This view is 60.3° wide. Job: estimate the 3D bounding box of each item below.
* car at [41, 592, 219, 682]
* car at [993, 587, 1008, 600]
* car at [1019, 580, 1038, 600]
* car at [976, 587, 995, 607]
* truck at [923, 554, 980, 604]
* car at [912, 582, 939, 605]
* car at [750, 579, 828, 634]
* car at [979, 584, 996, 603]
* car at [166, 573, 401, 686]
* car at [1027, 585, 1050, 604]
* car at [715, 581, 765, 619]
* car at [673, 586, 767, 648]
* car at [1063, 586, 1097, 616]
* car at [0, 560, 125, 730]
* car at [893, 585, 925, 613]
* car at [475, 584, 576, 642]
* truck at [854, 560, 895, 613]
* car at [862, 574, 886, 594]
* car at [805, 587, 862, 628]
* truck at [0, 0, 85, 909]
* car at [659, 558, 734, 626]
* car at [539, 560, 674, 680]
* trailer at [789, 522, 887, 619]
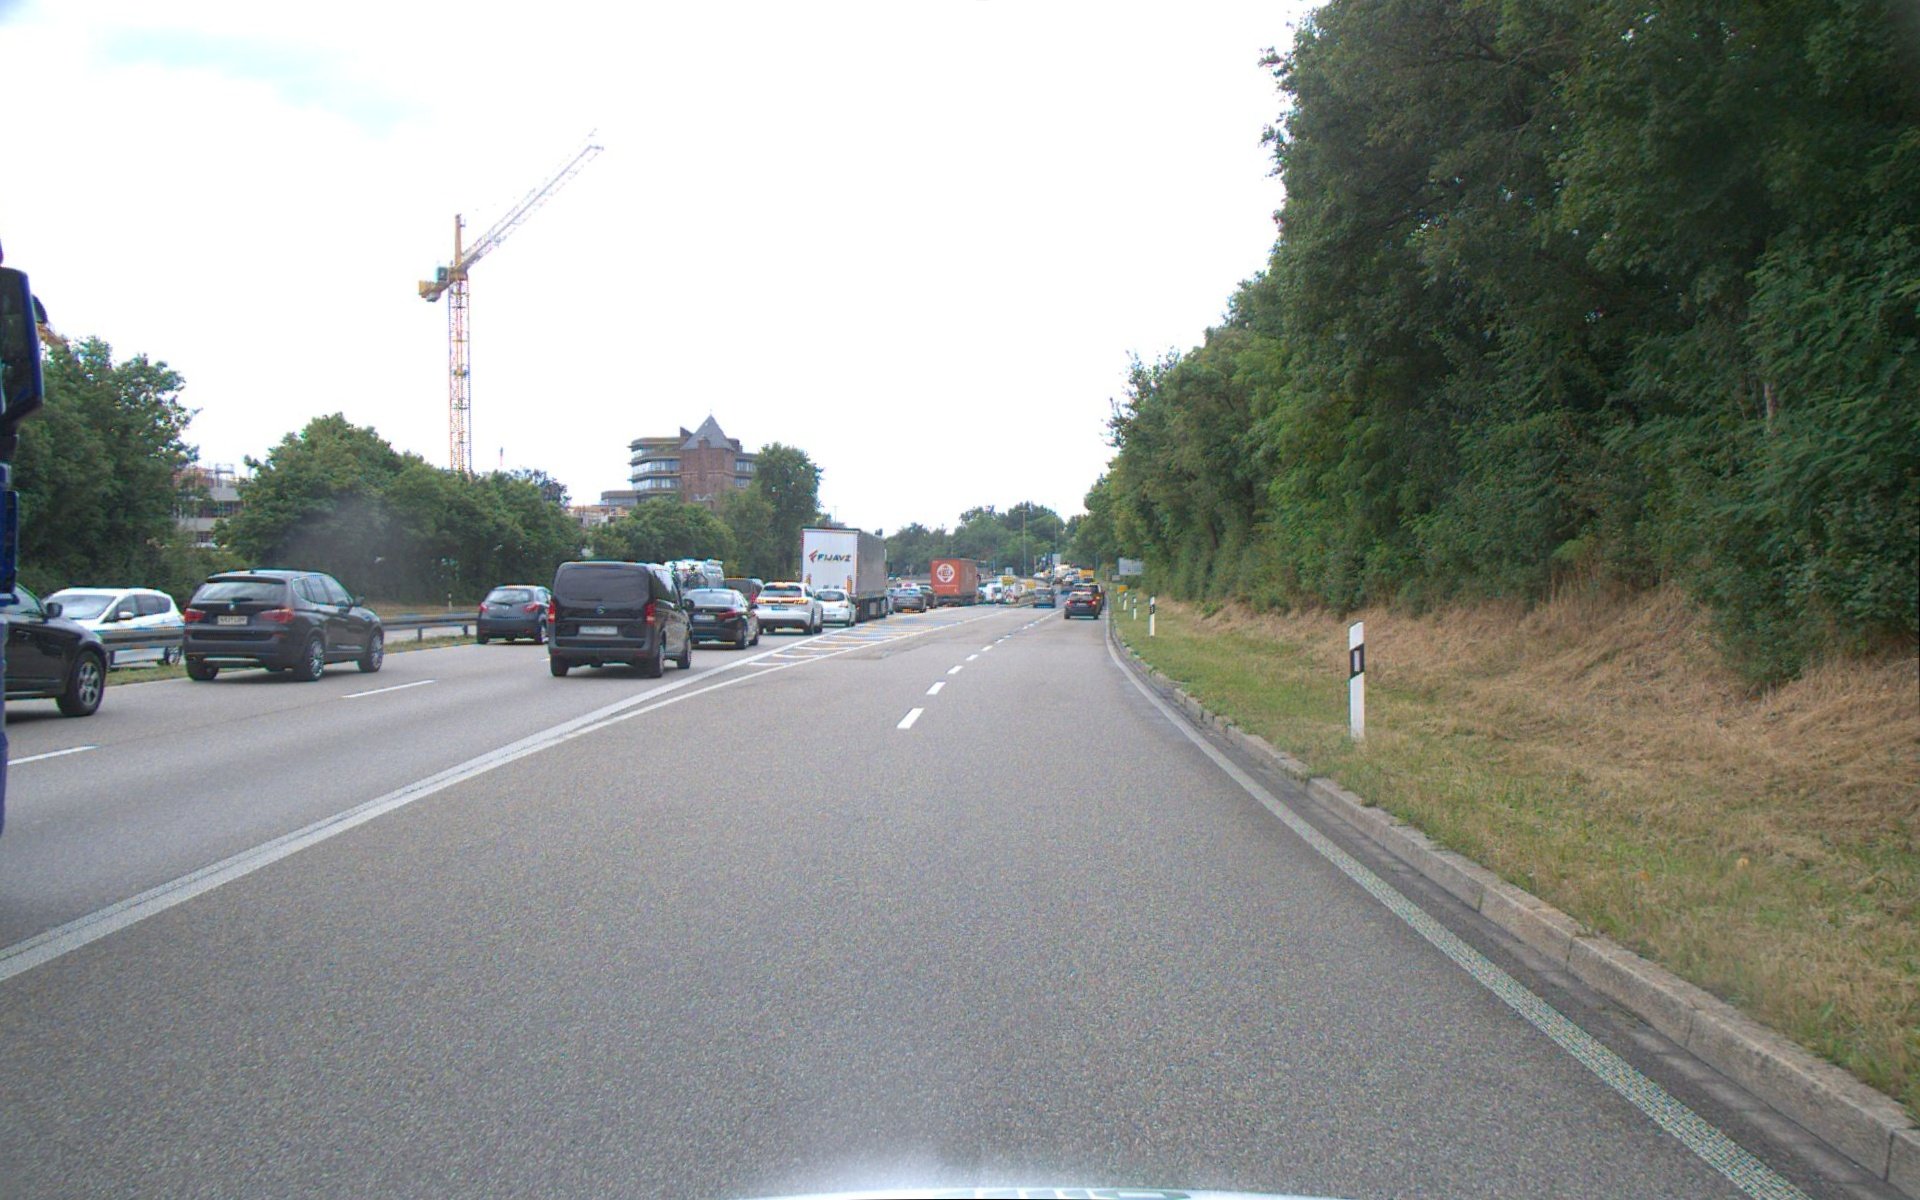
[{"bbox_3d":[-16.892,0.703,33.886,1.568,1.718,4.211,0,0,-1],"label":"car"},{"bbox_3d":[4.784,-0.810,197.867,1.741,1.508,4.000,0,0,1],"label":"car"},{"bbox_3d":[7.121,-1.025,172.305,1.910,2.049,4.001,0,0,2],"label":"car"},{"bbox_3d":[2.584,-0.326,168.558,1.580,1.982,3.707,1,0,6],"label":"car"},{"bbox_3d":[-0.606,-1.830,145.343,3.416,4.144,13.602,-1,1,6],"label":"truck"},{"bbox_3d":[-2.549,-0.462,124.149,1.681,1.713,4.002,1,0,3],"label":"car"},{"bbox_3d":[-5.649,0.205,55.255,1.916,1.724,4.867,1,0,2],"label":"car"},{"bbox_3d":[3.046,-0.679,180.505,1.580,1.982,3.707,1,0,4],"label":"car"},{"bbox_3d":[-10.696,0.415,26.561,1.822,1.641,4.652,0,0,1],"label":"car"},{"bbox_3d":[6.347,-0.452,134.293,1.787,1.508,4.001,-1,1,2],"label":"car"},{"bbox_3d":[-10.295,0.015,77.644,1.681,1.711,4.000,1,0,1],"label":"car"},{"bbox_3d":[-6.072,0.422,42.299,1.810,1.485,4.829,1,0,-2],"label":"car"},{"bbox_3d":[6.441,0.037,88.697,1.786,1.508,4.002,0,0,4],"label":"car"},{"bbox_3d":[-10.365,0.450,16.577,1.711,1.684,4.682,-1,0,-1],"label":"car"},{"bbox_3d":[-3.224,-0.040,105.203,1.681,1.713,4.002,1,0,3],"label":"car"},{"bbox_3d":[-11.305,0.309,43.258,1.640,1.413,3.999,0,0,-1],"label":"car"},{"bbox_3d":[-7.065,-1.050,137.592,2.682,4.211,10.698,1,0,1],"label":"truck"},{"bbox_3d":[-8.973,-1.655,173.375,1.951,2.049,4.002,-1,0,5],"label":"car"},{"bbox_3d":[-4.968,0.273,65.391,1.727,1.504,4.090,2,0,3],"label":"car"},{"bbox_3d":[-5.399,-0.685,4.778,2.510,4.113,6.584,1,0,-4],"label":"truck"},{"bbox_3d":[-10.483,-0.326,66.213,1.952,2.598,5.363,0,0,2],"label":"car"},{"bbox_3d":[-6.116,0.323,29.126,1.951,1.931,4.975,0,0,-8],"label":"car"},{"bbox_3d":[-5.516,-1.232,77.296,3.230,4.107,13.100,1,0,1],"label":"trailer"}]
